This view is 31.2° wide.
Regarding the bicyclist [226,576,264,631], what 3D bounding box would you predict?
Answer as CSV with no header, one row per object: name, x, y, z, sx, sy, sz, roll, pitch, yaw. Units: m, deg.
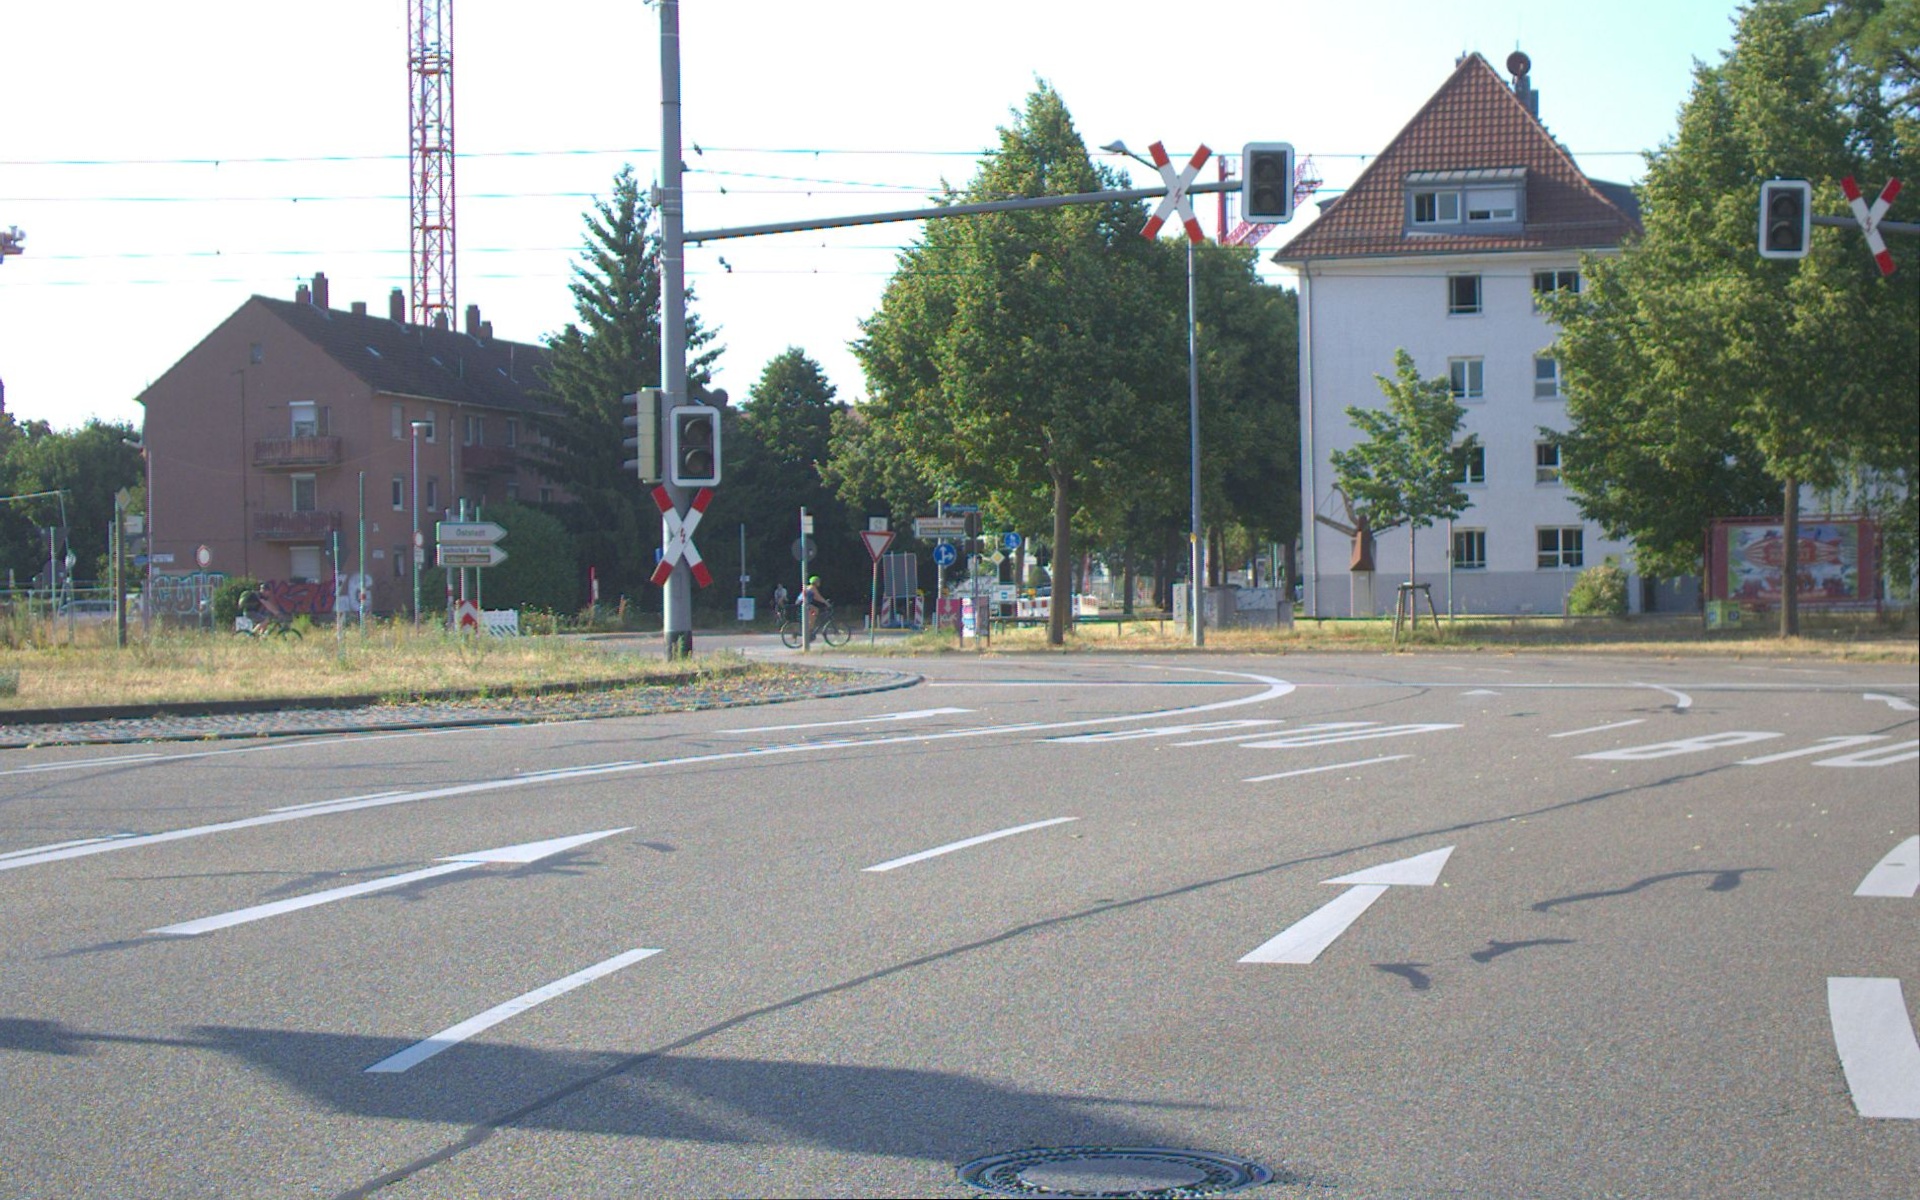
bicyclist,-18.277,0.080,87.843,0.897,1.391,0.526,-1,0,-16

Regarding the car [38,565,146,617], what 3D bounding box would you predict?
car,-34.773,-0.365,137.746,3.810,2.007,1.671,-1,0,8

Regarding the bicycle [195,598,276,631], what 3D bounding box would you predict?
bicycle,-18.482,0.365,87.756,1.986,0.822,0.430,-1,1,-16

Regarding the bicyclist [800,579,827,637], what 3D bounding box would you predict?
bicyclist,-3.888,0.209,91.120,0.622,1.506,0.419,-1,0,-16

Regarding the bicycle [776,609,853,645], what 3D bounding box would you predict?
bicycle,-3.863,0.718,91.126,1.986,0.915,0.430,-1,1,-16
